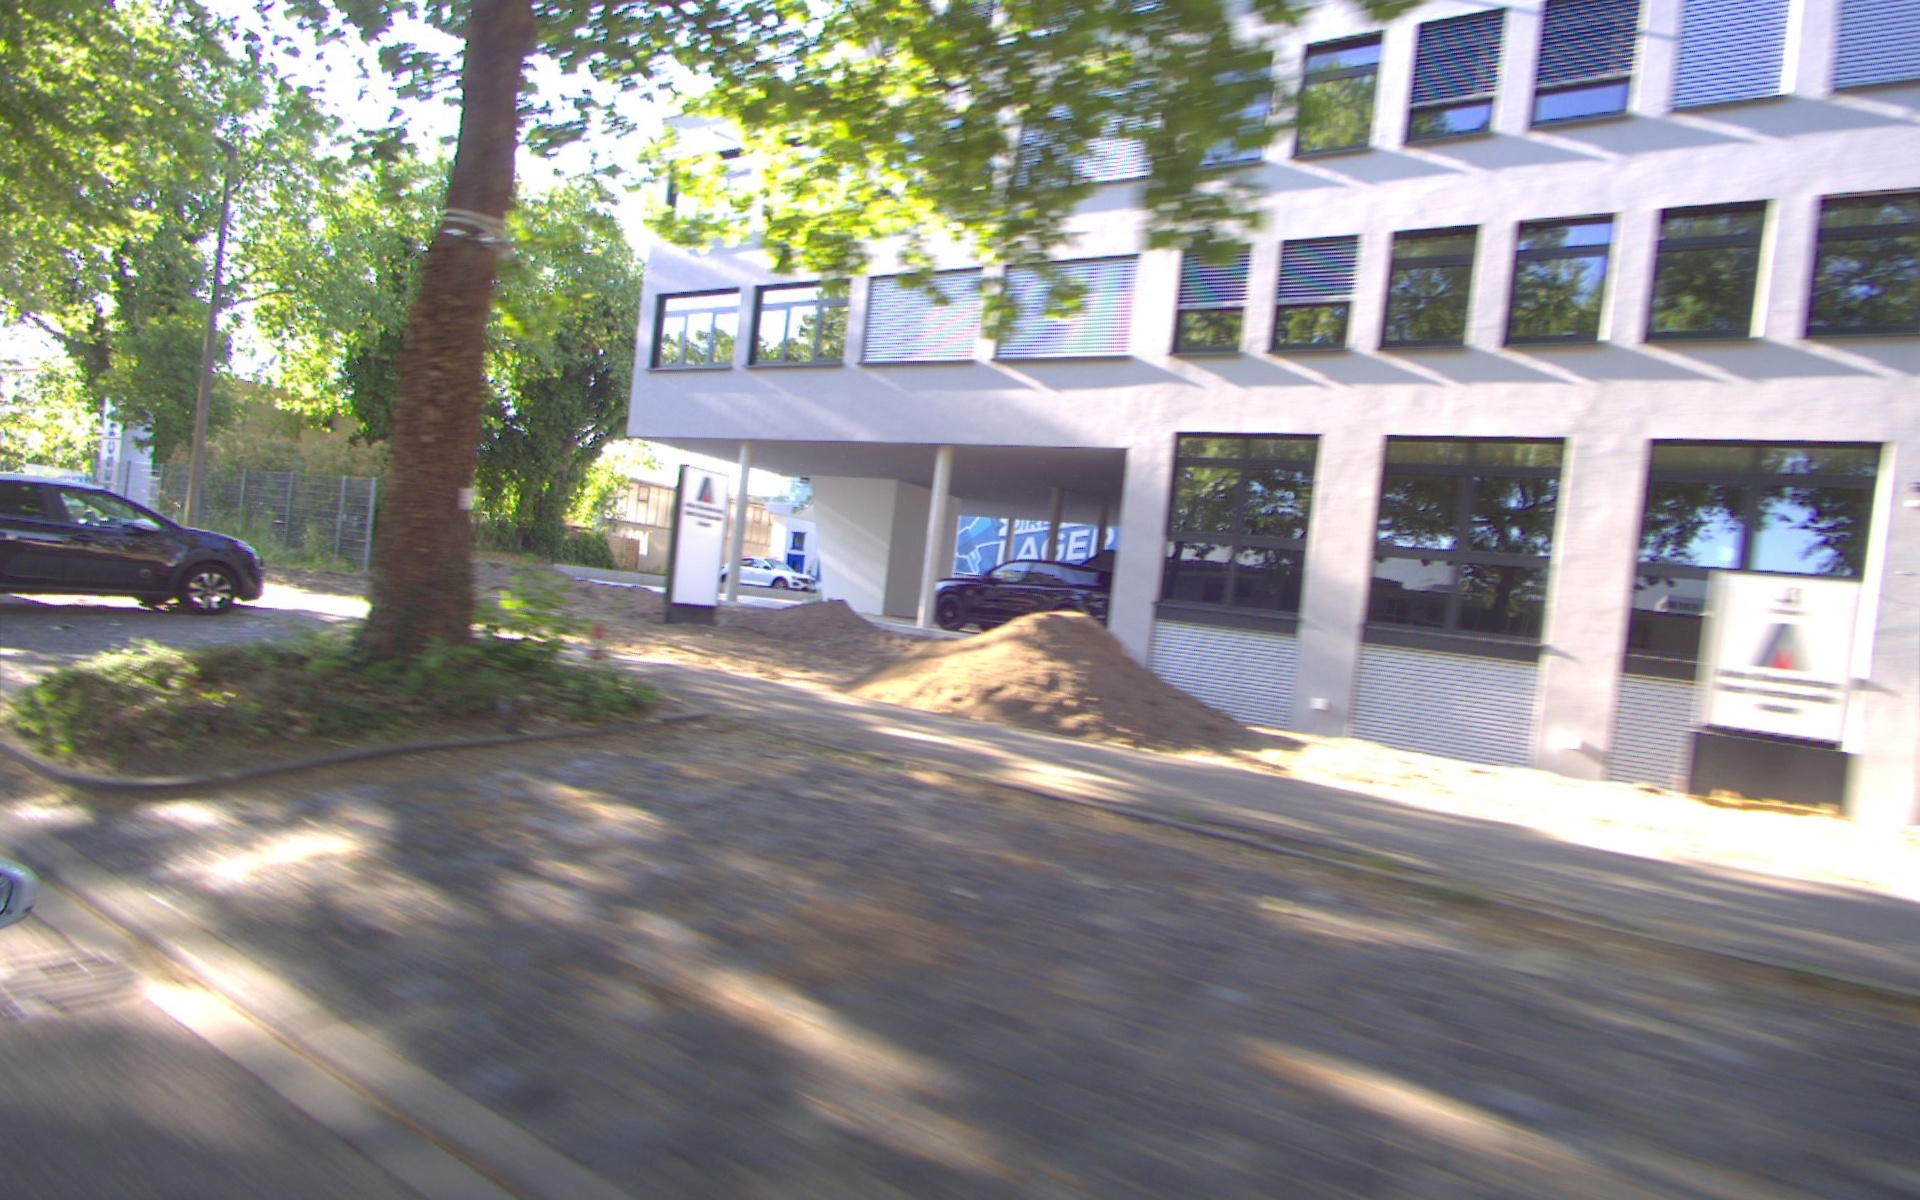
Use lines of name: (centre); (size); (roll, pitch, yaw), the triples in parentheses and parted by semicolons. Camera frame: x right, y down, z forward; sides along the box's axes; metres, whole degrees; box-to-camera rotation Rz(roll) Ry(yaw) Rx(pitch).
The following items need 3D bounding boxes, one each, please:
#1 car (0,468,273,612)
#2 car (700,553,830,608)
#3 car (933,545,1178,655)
car: (-10.537, -0.703, 11.671); (1.829, 1.506, 3.785); (6, 2, 30)
car: (-7.692, -0.754, 39.531); (4.691, 1.563, 1.999); (6, -2, 28)
car: (1.935, -0.029, 21.072); (4.597, 1.752, 1.994); (6, -2, 37)
